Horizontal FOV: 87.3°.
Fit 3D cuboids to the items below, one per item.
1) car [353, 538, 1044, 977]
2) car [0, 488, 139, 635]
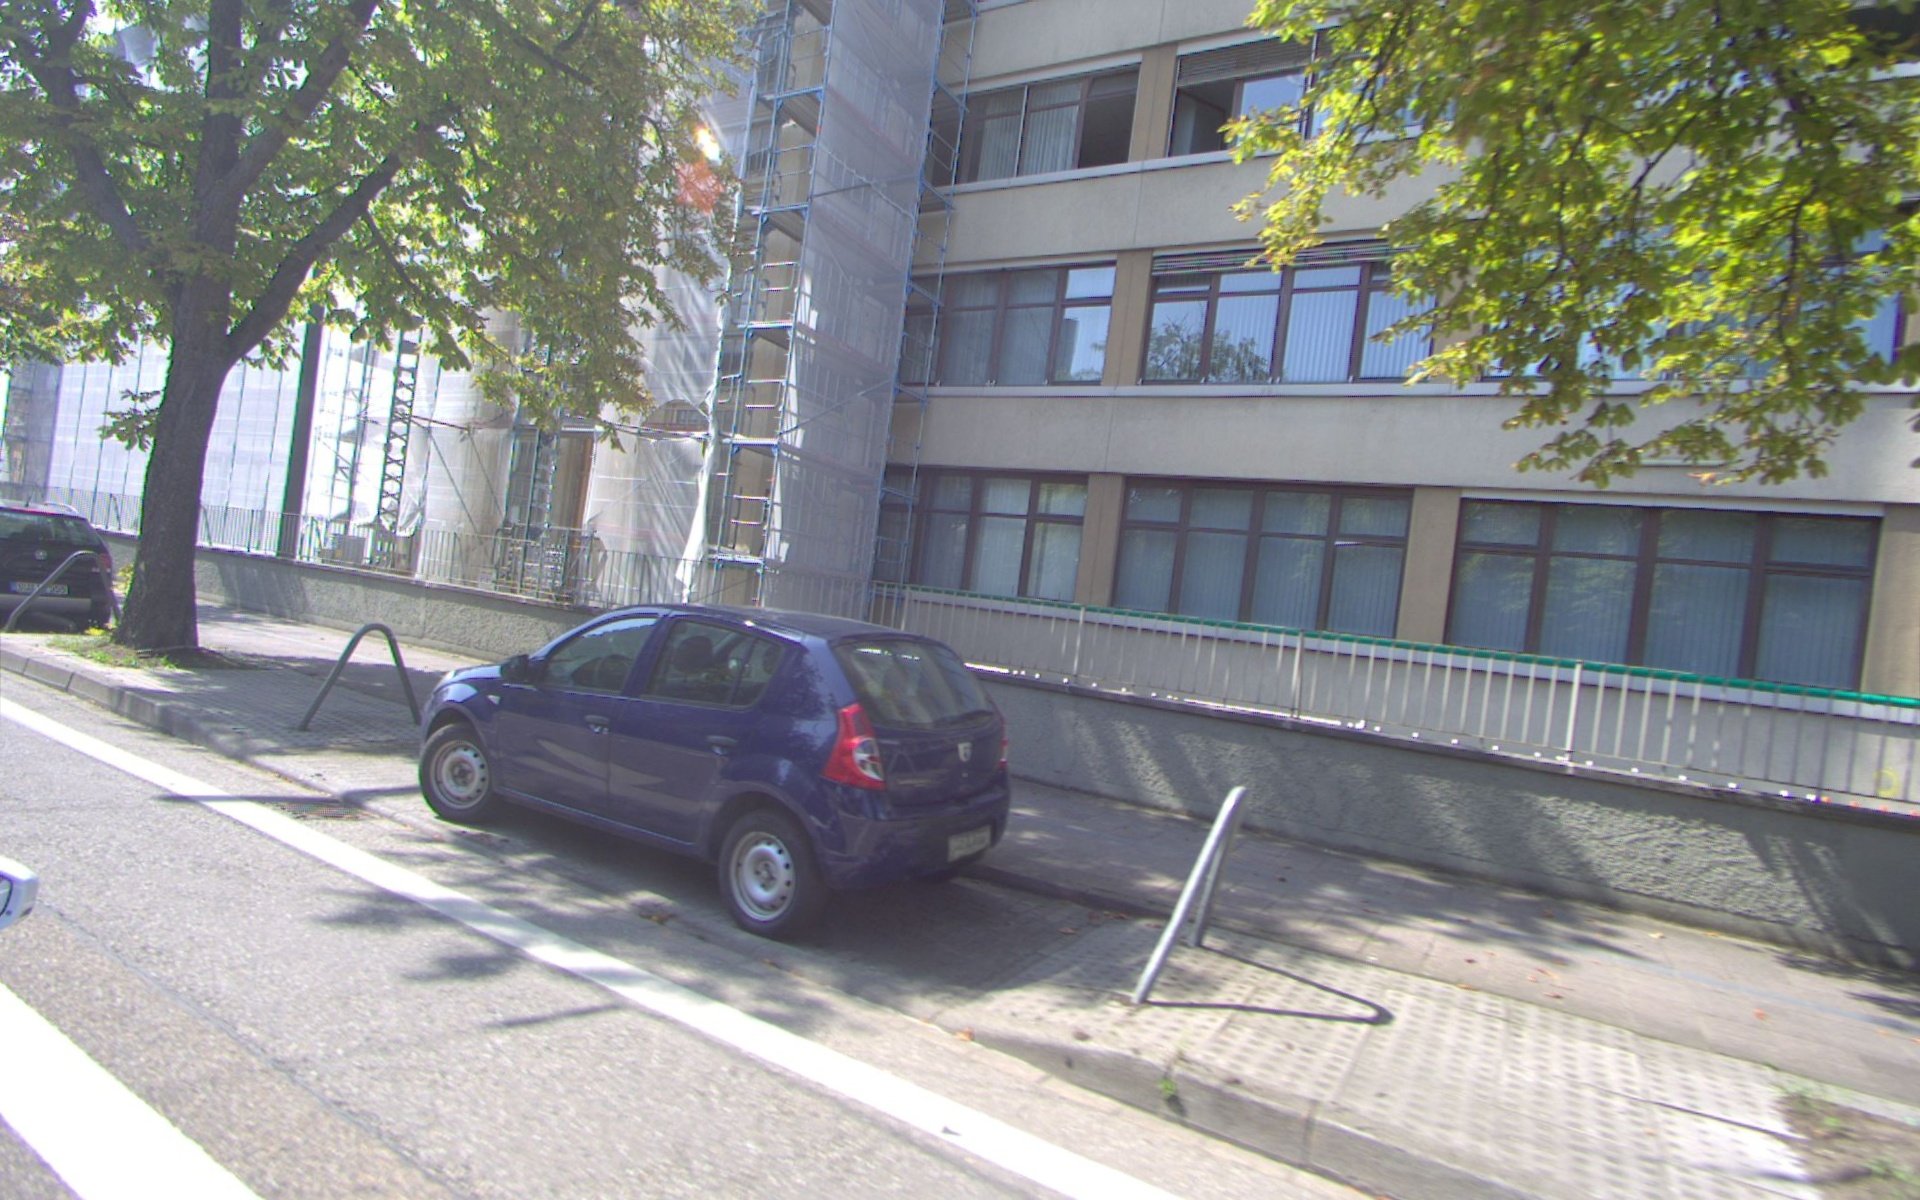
[{"bbox_3d":[-1.726,0.679,6.133,4.016,1.590,1.642,8,1,32],"label":"car"},{"bbox_3d":[-12.342,-0.634,12.754,3.934,1.588,1.688,7,-1,32],"label":"car"}]
